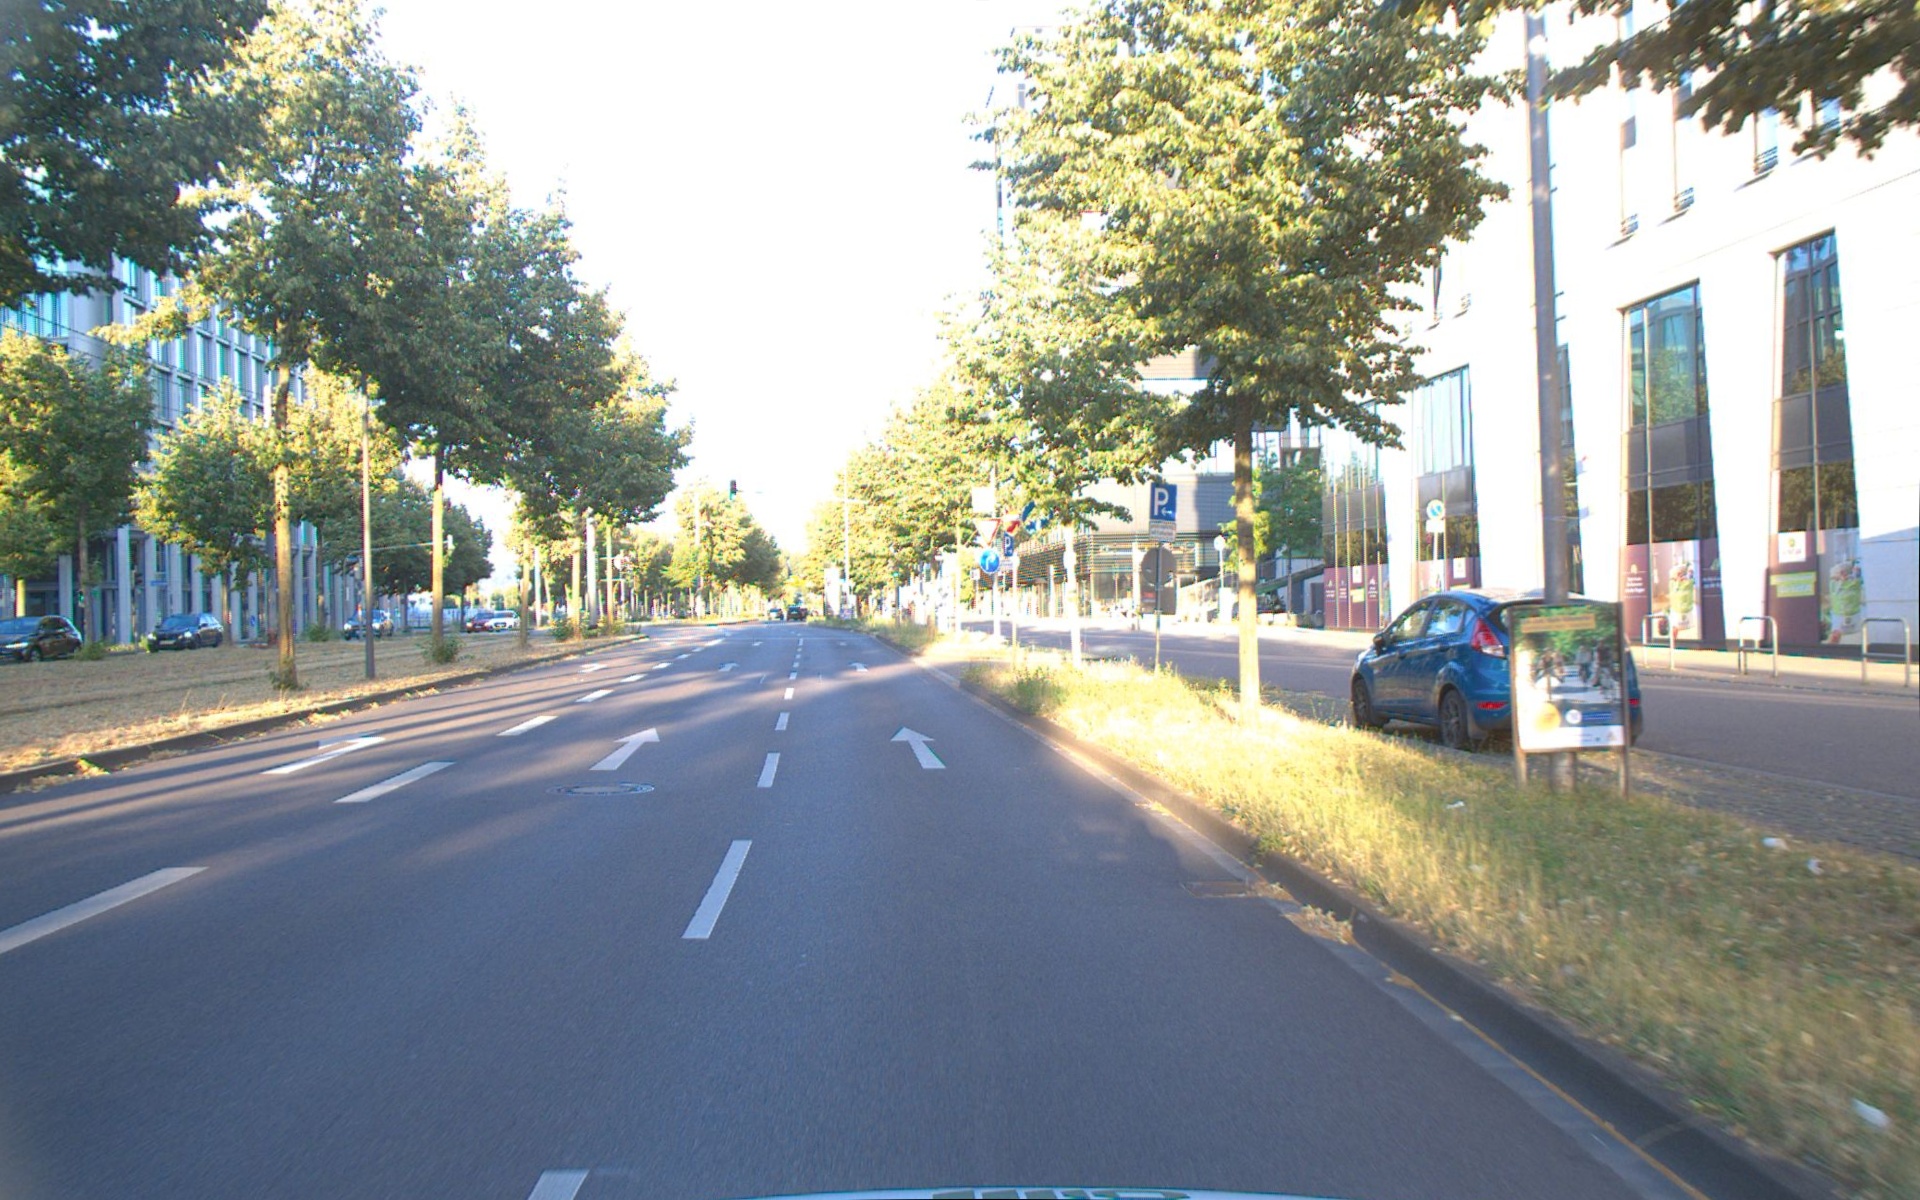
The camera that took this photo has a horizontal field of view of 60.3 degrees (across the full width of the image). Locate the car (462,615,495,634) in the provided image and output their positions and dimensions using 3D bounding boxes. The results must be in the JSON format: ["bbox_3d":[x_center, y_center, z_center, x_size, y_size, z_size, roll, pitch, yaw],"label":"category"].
[{"bbox_3d":[-36.151,1.823,124.156,1.625,1.355,4.520,-1,0,-7],"label":"car"}]

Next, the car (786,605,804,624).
[{"bbox_3d":[-18.257,1.600,182.866,1.955,2.049,3.995,-1,0,-6],"label":"car"}]

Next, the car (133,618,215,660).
[{"bbox_3d":[-30.759,1.497,64.848,1.625,1.528,4.183,-1,0,-7],"label":"car"}]

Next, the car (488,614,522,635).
[{"bbox_3d":[-31.653,1.673,115.104,1.753,1.355,3.666,-1,0,-7],"label":"car"}]

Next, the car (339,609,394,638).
[{"bbox_3d":[-29.919,1.150,83.483,1.625,1.355,4.577,-1,0,-7],"label":"car"}]

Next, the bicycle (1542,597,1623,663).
[{"bbox_3d":[10.963,0.519,29.179,0.508,1.079,1.959,-4,0,-4],"label":"bicycle"}]

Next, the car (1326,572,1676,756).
[{"bbox_3d":[5.072,0.545,16.166,1.691,1.556,4.263,0,0,-6],"label":"car"}]

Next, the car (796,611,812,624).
[{"bbox_3d":[-19.248,2.163,203.800,1.836,1.601,3.673,-1,0,-4],"label":"car"}]

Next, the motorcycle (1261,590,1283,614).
[{"bbox_3d":[15.413,0.096,81.750,0.637,1.113,2.332,-1,0,0],"label":"motorcycle"}]

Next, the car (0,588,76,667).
[{"bbox_3d":[-25.901,0.750,44.917,1.955,2.049,3.994,-2,0,-6],"label":"car"}]

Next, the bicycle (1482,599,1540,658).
[{"bbox_3d":[10.725,0.538,32.231,0.437,1.091,1.773,-3,0,-1],"label":"bicycle"}]

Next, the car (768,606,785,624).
[{"bbox_3d":[-22.675,1.860,204.117,2.047,2.049,3.995,-1,0,-6],"label":"car"}]
